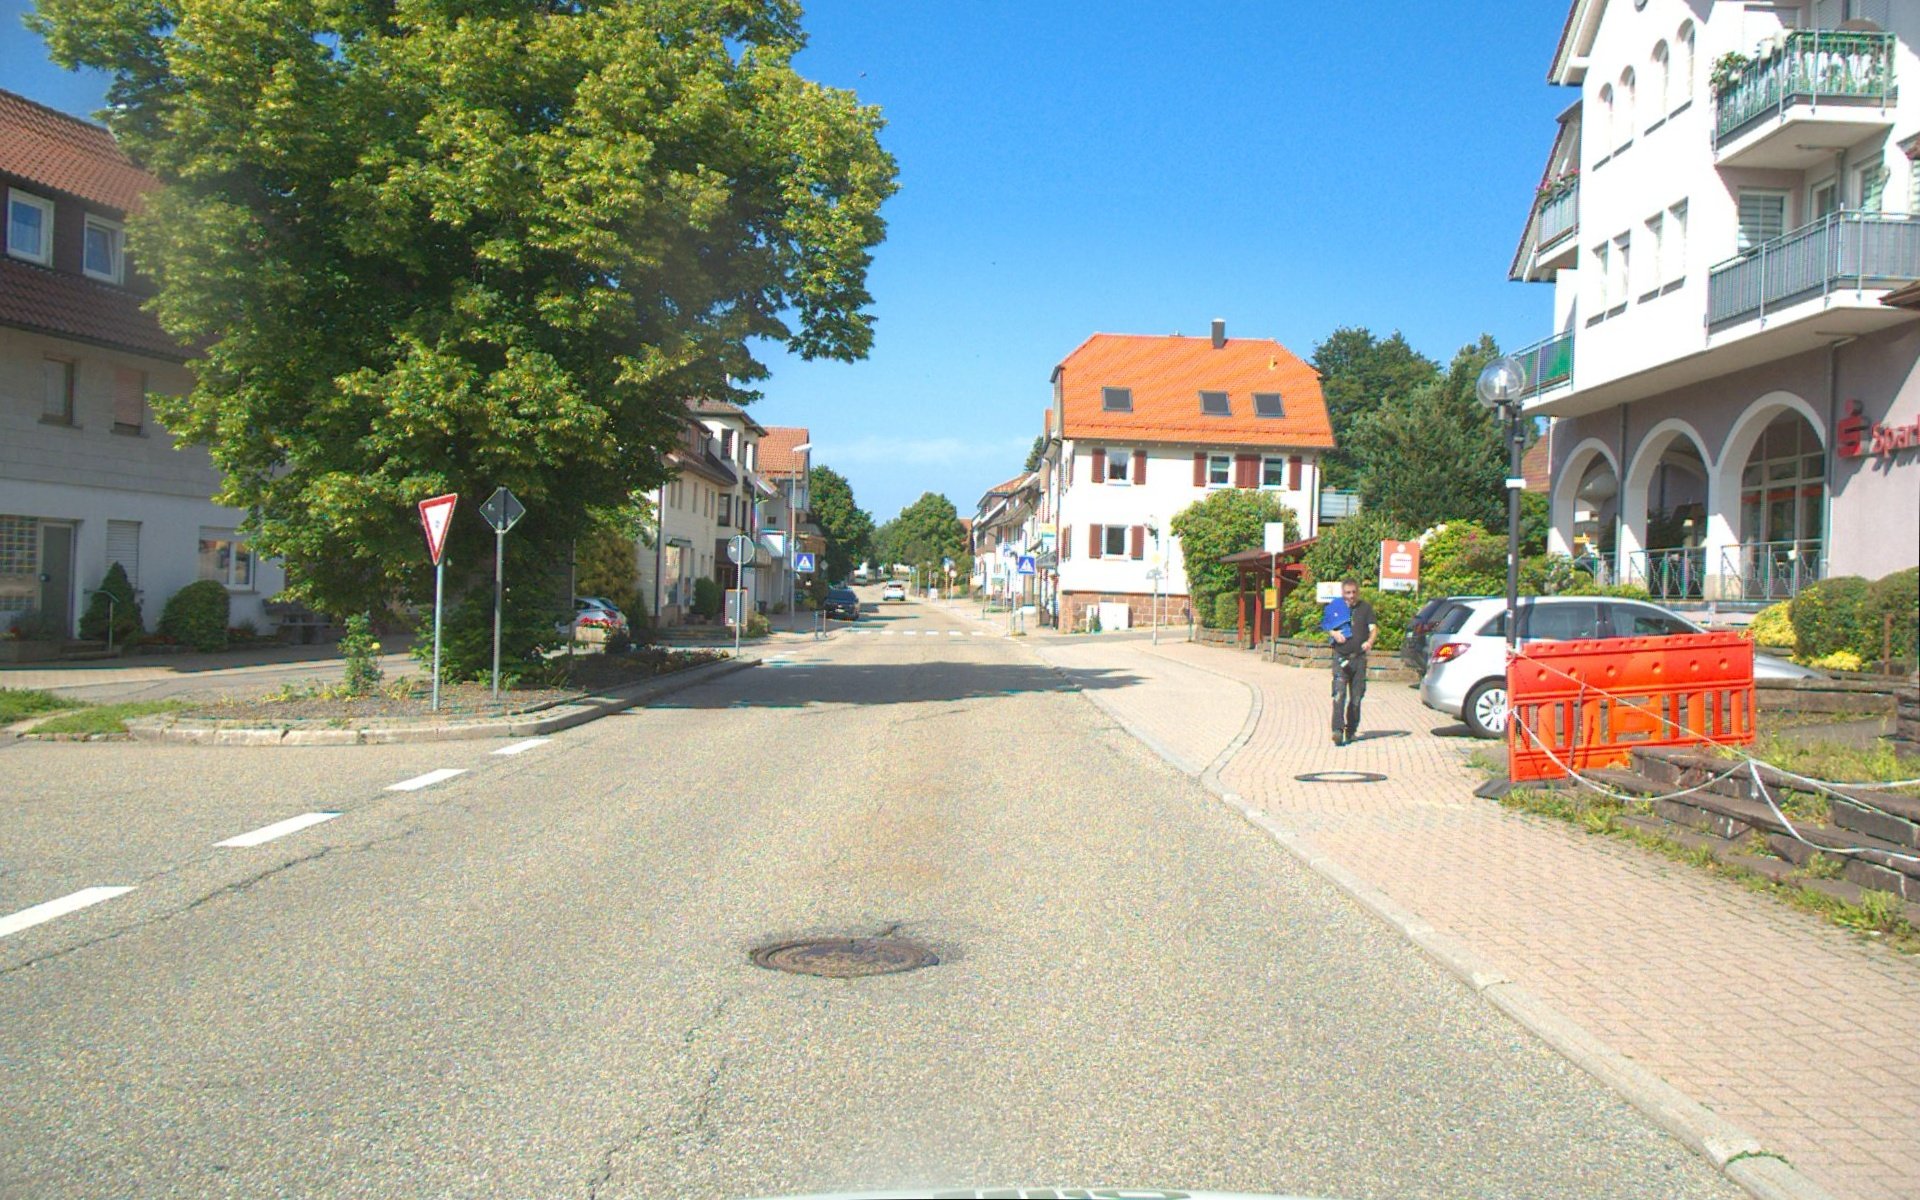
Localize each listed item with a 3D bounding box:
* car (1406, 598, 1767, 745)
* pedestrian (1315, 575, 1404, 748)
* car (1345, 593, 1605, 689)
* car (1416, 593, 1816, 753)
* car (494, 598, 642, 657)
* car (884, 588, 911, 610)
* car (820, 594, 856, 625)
[{"bbox_3d":[7.651,0.836,20.542,3.902,1.576,1.739,2,0,10],"label":"car"},{"bbox_3d":[4.294,0.646,17.851,0.782,1.815,0.980,0,0,4],"label":"pedestrian"},{"bbox_3d":[8.759,0.685,28.370,3.904,1.575,1.881,0,0,2],"label":"car"},{"bbox_3d":[7.012,0.733,18.096,3.779,1.585,1.965,1,0,12],"label":"car"},{"bbox_3d":[-11.243,0.817,47.558,3.679,1.480,1.819,-2,-5,12],"label":"car"},{"bbox_3d":[-6.068,-0.070,160.633,2.447,2.049,4.300,-1,0,-5],"label":"car"},{"bbox_3d":[-6.859,0.536,93.238,1.639,1.559,3.535,5,0,-1],"label":"car"}]
